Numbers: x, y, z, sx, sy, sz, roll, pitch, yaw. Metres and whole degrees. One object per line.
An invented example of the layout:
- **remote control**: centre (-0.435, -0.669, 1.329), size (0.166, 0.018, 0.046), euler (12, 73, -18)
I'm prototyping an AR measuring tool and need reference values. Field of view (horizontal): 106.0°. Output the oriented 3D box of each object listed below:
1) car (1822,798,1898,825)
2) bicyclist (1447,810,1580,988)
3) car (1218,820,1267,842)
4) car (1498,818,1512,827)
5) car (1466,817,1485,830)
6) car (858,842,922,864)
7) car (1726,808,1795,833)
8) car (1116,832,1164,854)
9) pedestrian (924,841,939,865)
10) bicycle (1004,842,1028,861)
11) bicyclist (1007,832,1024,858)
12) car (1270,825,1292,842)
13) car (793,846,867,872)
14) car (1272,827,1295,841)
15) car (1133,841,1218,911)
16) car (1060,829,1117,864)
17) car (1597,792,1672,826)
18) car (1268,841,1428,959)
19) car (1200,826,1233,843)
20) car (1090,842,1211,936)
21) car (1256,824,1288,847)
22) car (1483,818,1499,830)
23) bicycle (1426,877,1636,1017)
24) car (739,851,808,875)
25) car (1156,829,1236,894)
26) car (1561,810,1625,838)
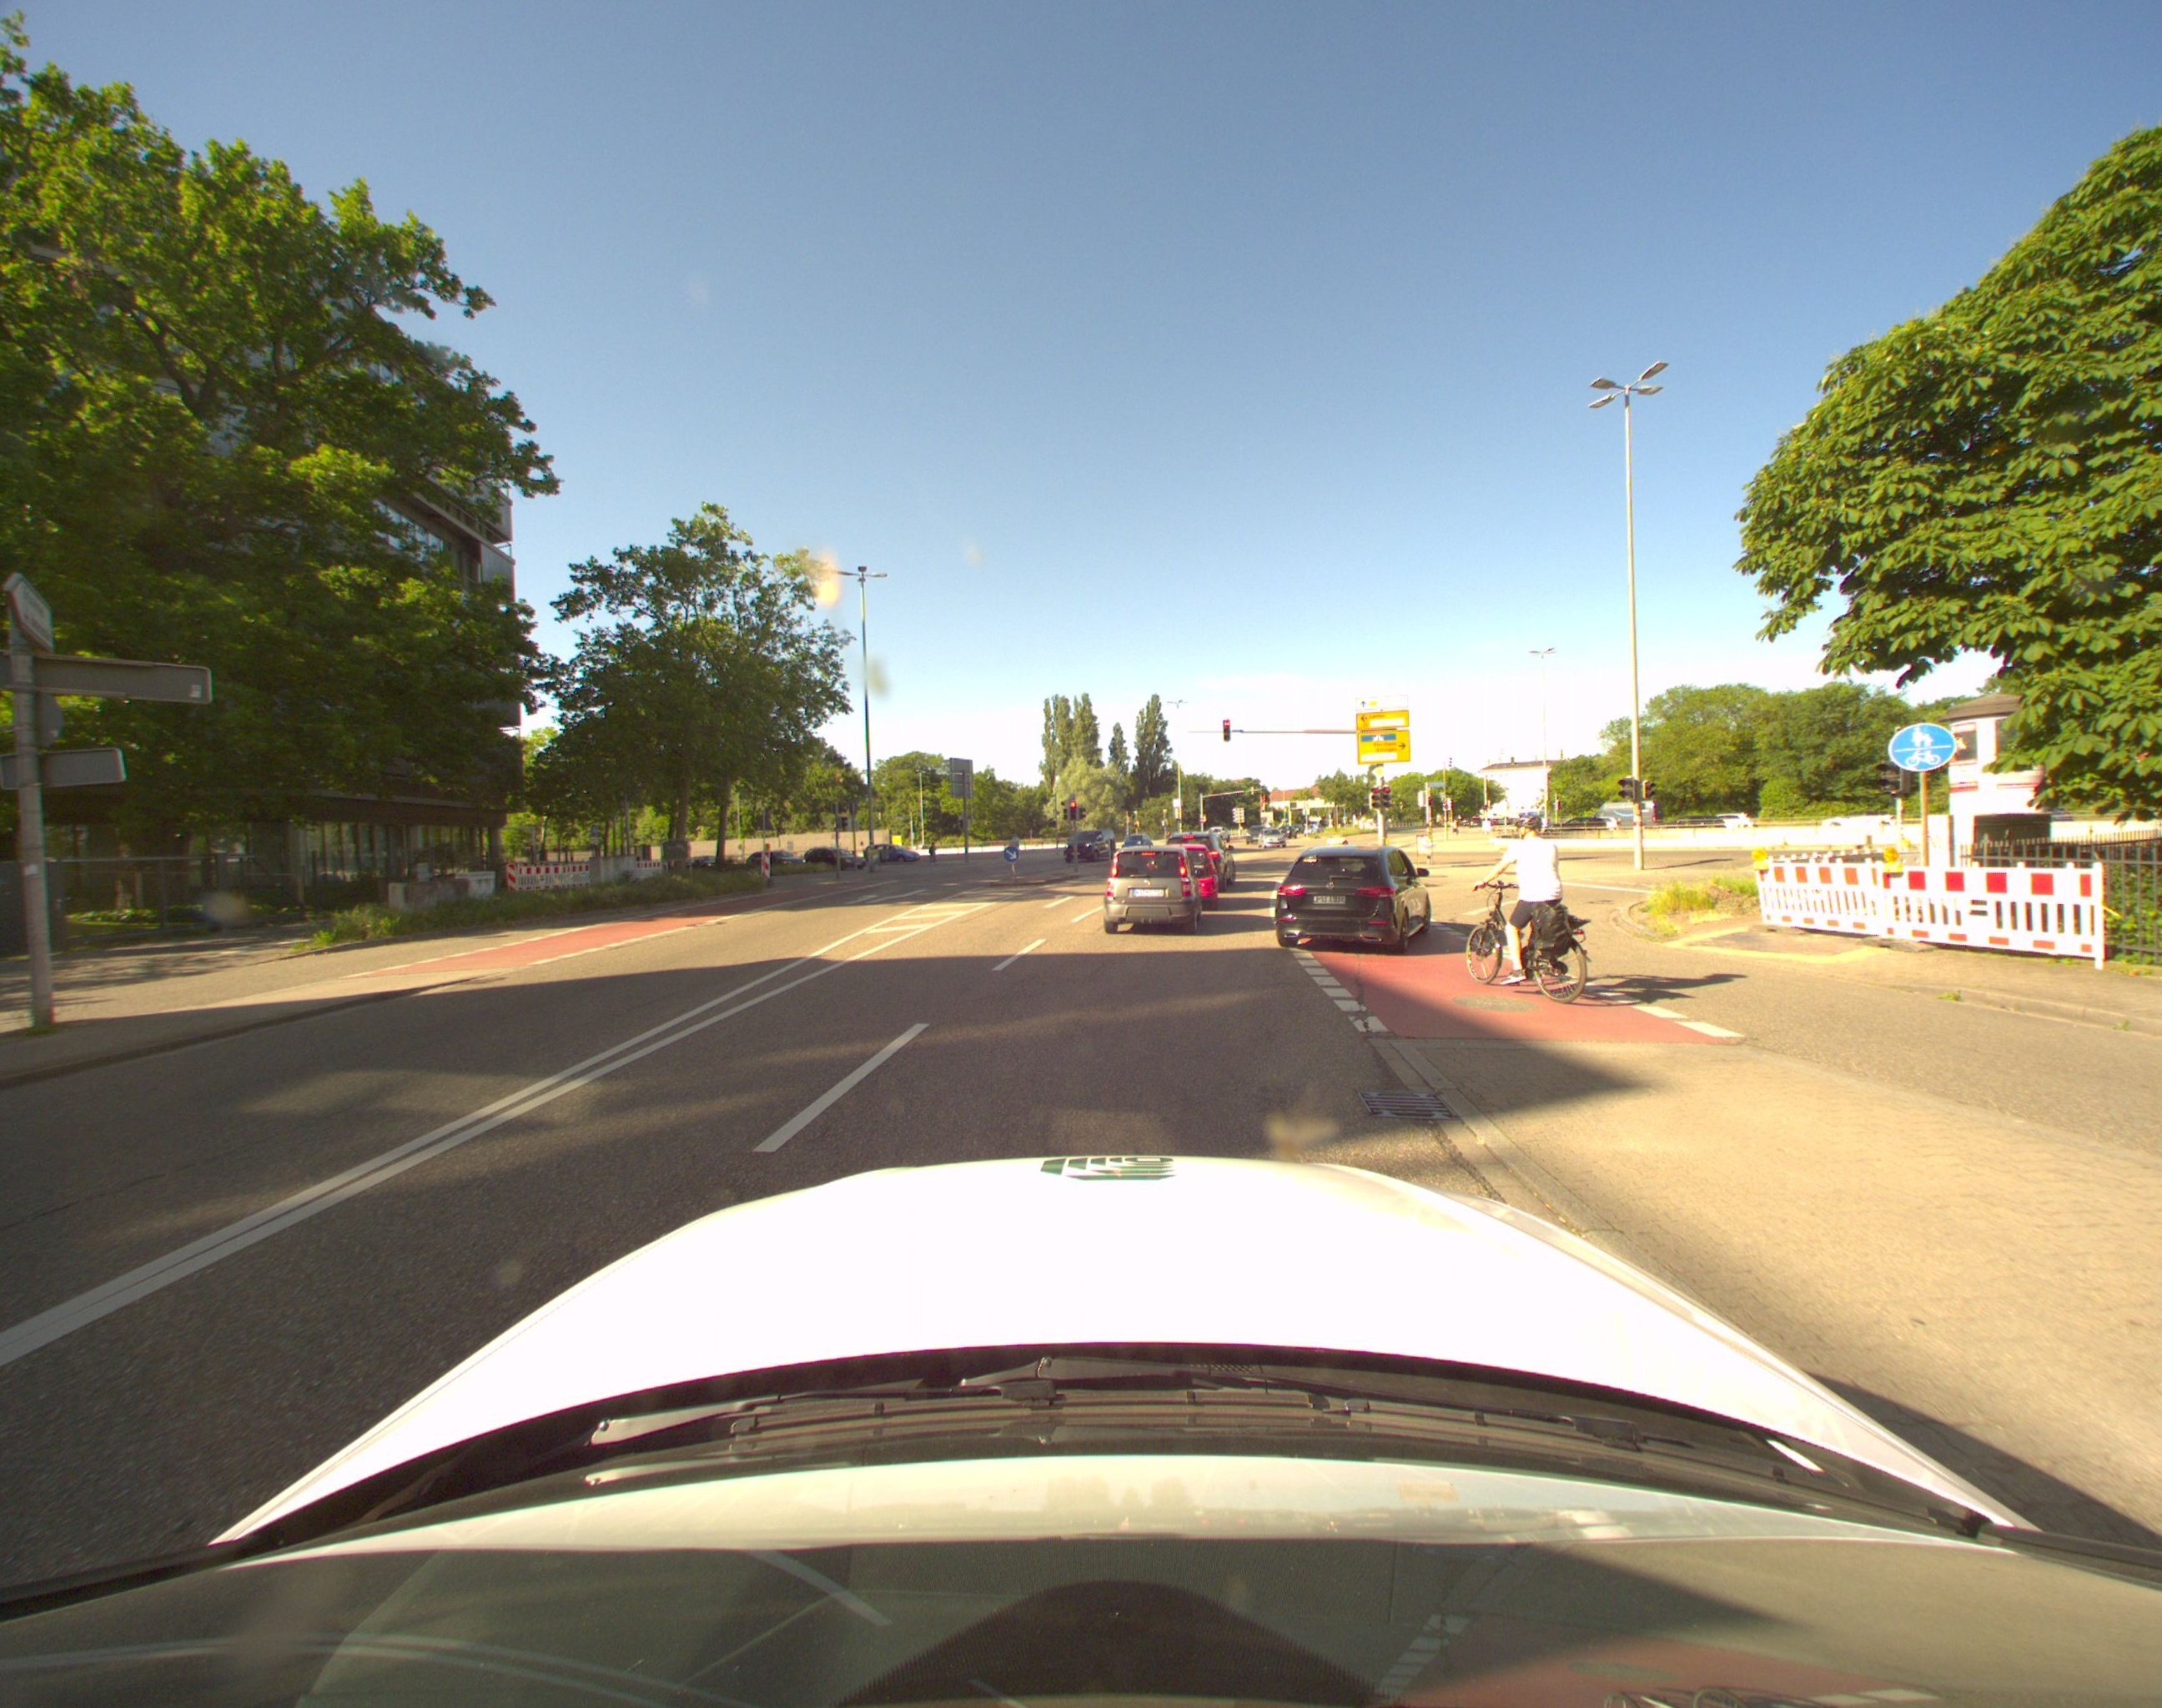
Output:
- **car**: centre (57.283, -3.111, 59.936), size (3.950, 1.684, 1.867), euler (-2, -1, 45)
- **bicyclist**: centre (4.424, 0.428, 8.415), size (0.797, 1.705, 1.085), euler (0, 0, -1)
- **car**: centre (14.891, -2.082, 75.305), size (2.008, 1.836, 4.314), euler (0, -1, -34)
- **car**: centre (82.184, -6.155, 157.871), size (1.974, 1.640, 4.026), euler (-2, 1, 35)
- **car**: centre (60.217, -4.658, 124.389), size (1.974, 1.794, 4.025), euler (-2, -1, 35)
- **car**: centre (-14.332, -0.041, 61.178), size (4.396, 1.438, 1.837), euler (-2, 1, 24)
- **car**: centre (53.194, -2.595, 63.793), size (3.950, 1.750, 2.012), euler (-2, -1, 45)
- **car**: centre (4.678, -0.903, 64.168), size (1.802, 1.503, 4.480), euler (-2, 1, 33)
- **pedestrian**: centre (-9.979, -0.054, 54.370), size (0.683, 1.538, 1.368), euler (-1, -1, 4)
- **bicycle**: centre (-4.288, -0.180, 53.931), size (0.681, 1.202, 2.338), euler (-2, 2, 18)
- **bicyclist**: centre (-4.335, -0.614, 53.832), size (0.681, 1.701, 1.204), euler (-2, 1, 18)
- **car**: centre (19.598, -2.038, 79.714), size (1.709, 1.582, 4.024), euler (-2, 1, 20)
- **car**: centre (-15.858, 0.312, 51.334), size (4.394, 1.438, 1.837), euler (-2, 1, 28)
- **car**: centre (22.193, -2.191, 89.045), size (1.977, 1.453, 4.020), euler (-2, 1, 19)
- **car**: centre (2.373, 0.447, 19.671), size (1.809, 1.479, 4.011), euler (-1, 1, 9)
- **car**: centre (0.519, -0.521, 49.255), size (1.977, 1.935, 4.876), euler (-2, 1, 19)
- **car**: centre (47.723, -3.815, 70.279), size (2.270, 2.607, 4.834), euler (0, -1, -34)
- **car**: centre (4.320, 0.565, 12.757), size (1.734, 1.493, 4.025), euler (0, 1, 28)
- **car**: centre (14.035, -2.016, 84.223), size (1.816, 1.653, 4.658), euler (-2, 1, 31)
- **car**: centre (1.445, 0.553, 15.424), size (1.808, 1.489, 4.013), euler (-1, 1, 11)
- **car**: centre (14.567, -1.429, 62.348), size (1.811, 1.582, 4.110), euler (-2, 1, 5)
- **car**: centre (70.808, -5.179, 140.627), size (1.974, 1.793, 4.026), euler (-2, 1, 32)
- **bicycle**: centre (4.432, 0.844, 8.305), size (0.797, 1.110, 2.401), euler (0, 1, -1)
- **car**: centre (-20.883, 0.594, 55.299), size (4.394, 1.438, 1.837), euler (-2, 1, 28)
- **car**: centre (3.629, 0.140, 25.032), size (1.855, 1.790, 4.433), euler (0, 2, 15)
- **car**: centre (41.367, -2.386, 65.844), size (3.950, 2.014, 2.012), euler (-2, -1, 45)
